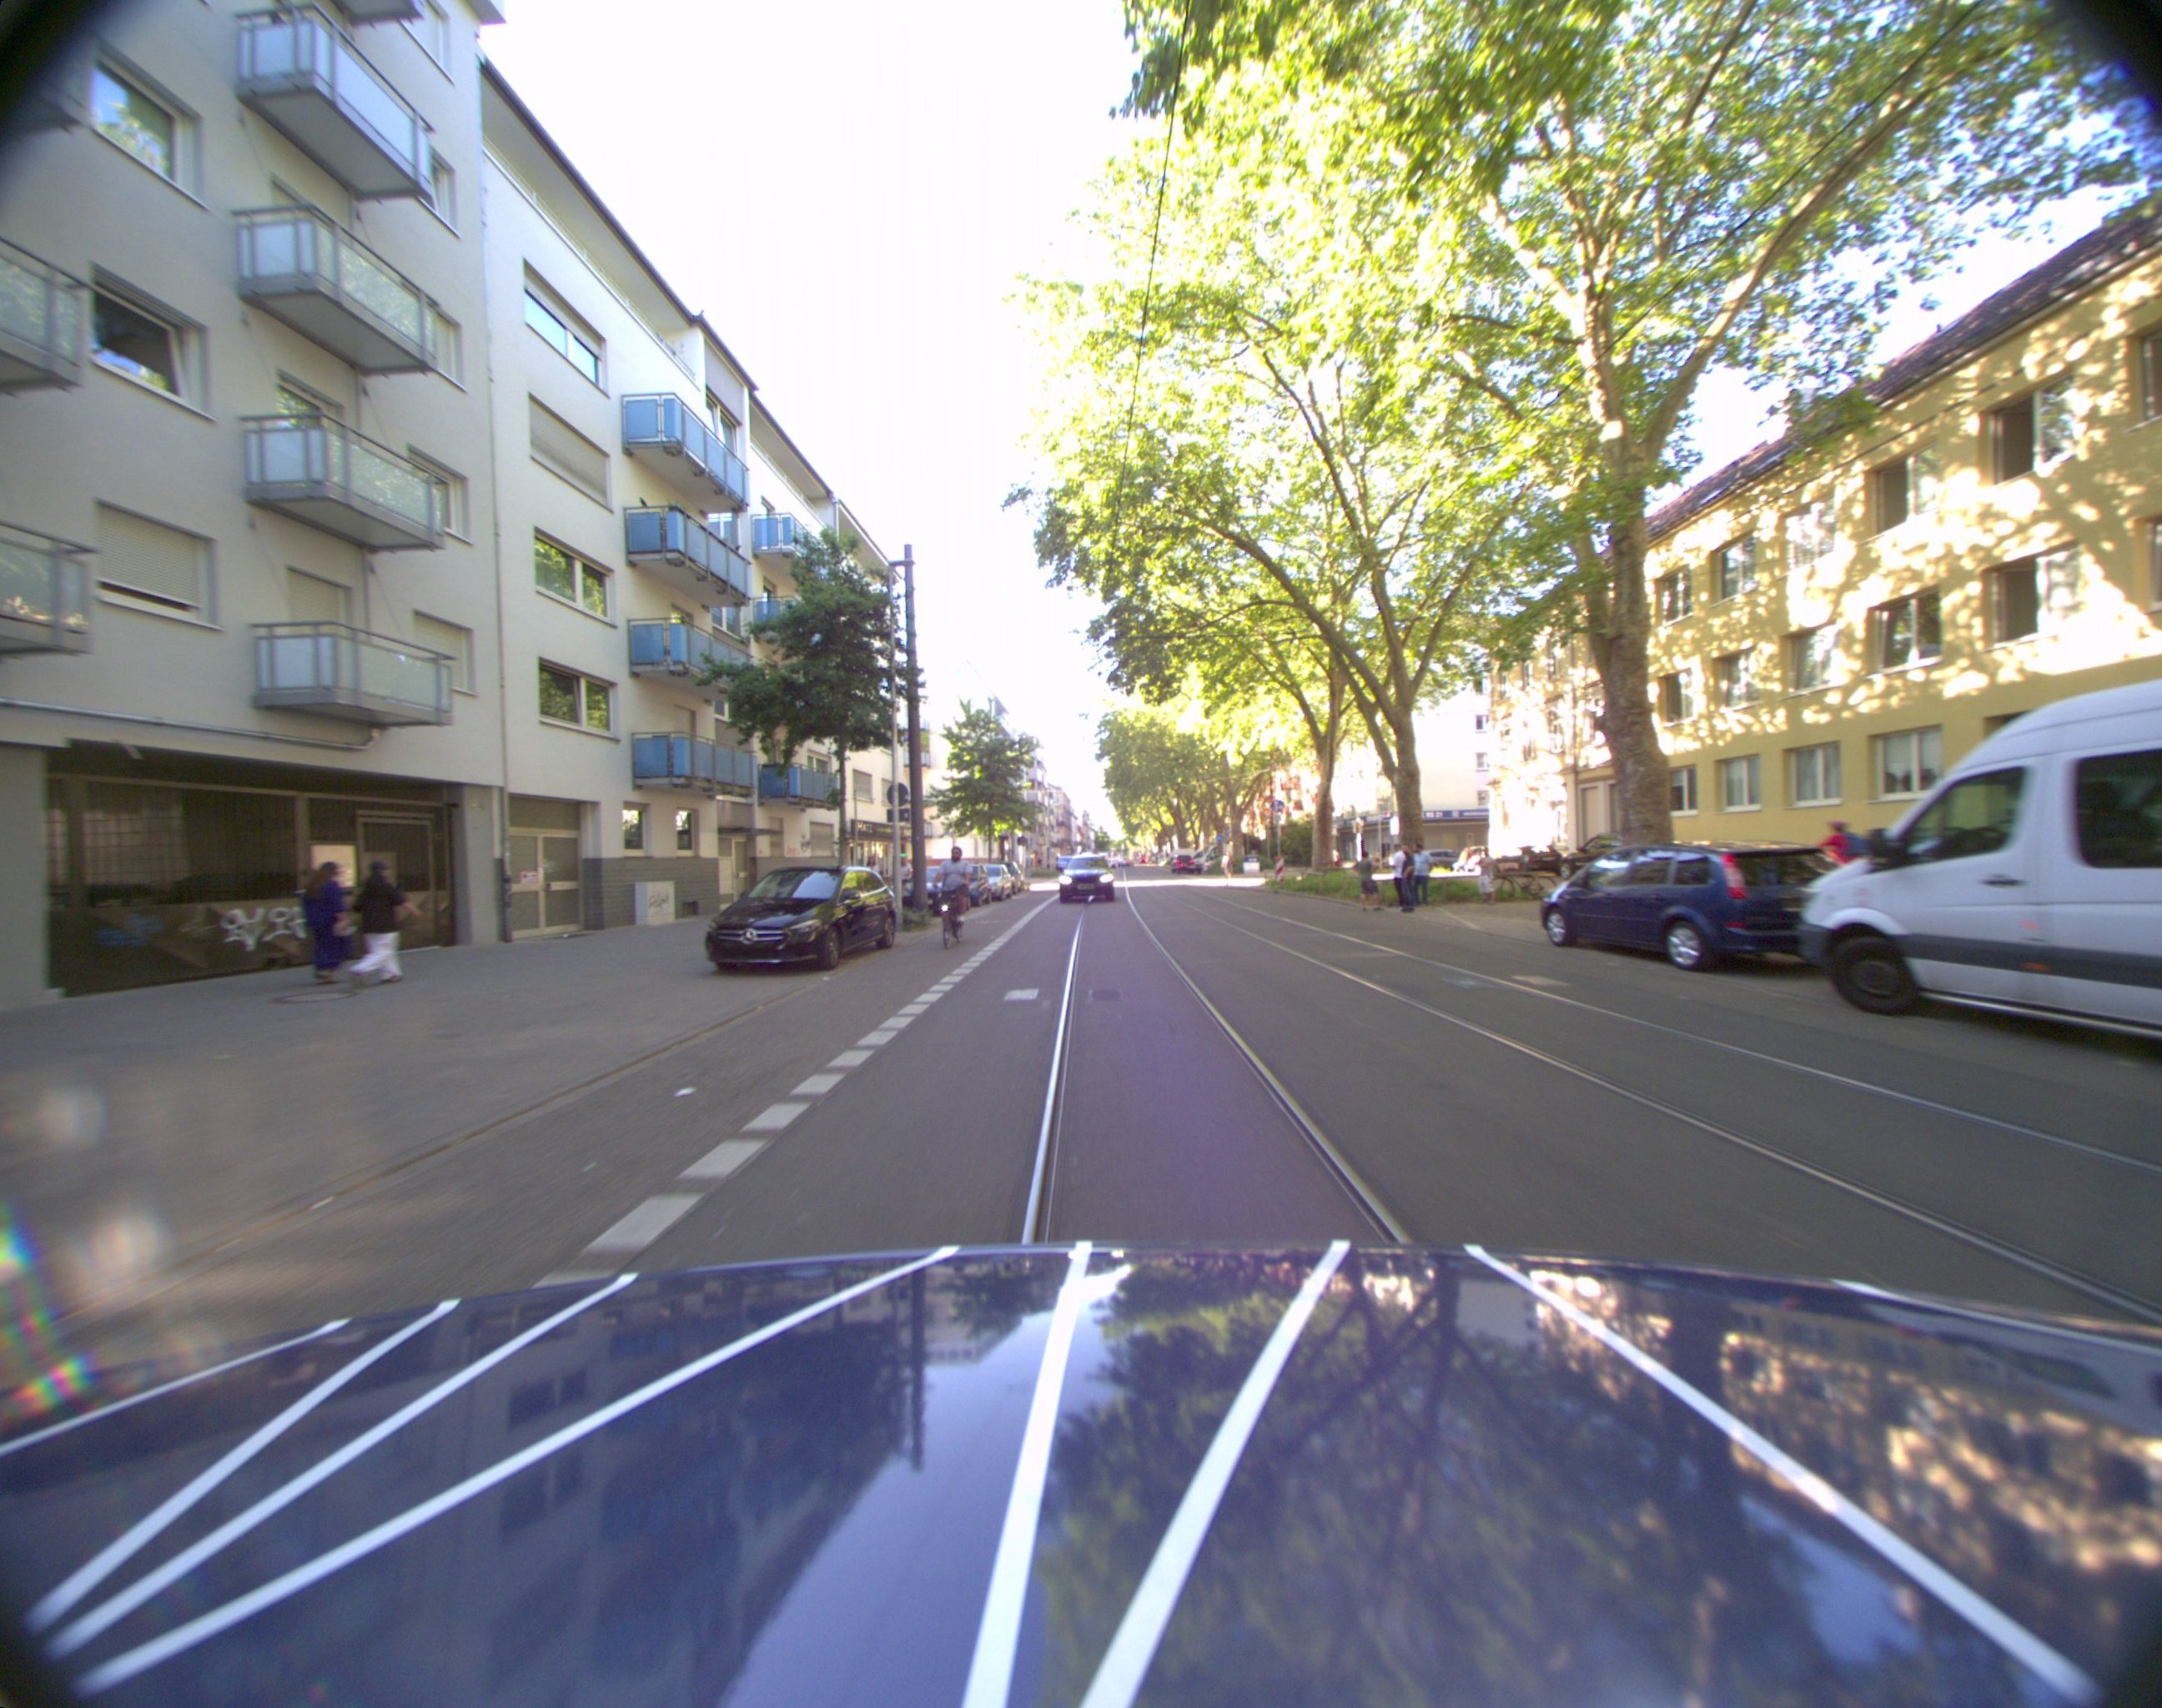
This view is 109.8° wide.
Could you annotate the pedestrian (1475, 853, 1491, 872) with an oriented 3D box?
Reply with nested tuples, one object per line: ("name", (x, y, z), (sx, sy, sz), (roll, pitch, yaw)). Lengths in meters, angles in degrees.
("pedestrian", (22.014, 0.464, 41.608), (0.544, 1.034, 0.545), (-3, 1, -30))

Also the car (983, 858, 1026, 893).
("car", (-3.698, 1.027, 37.505), (1.724, 1.562, 4.259), (1, 0, -1))

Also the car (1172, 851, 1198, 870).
("car", (9.642, 0.536, 70.657), (1.927, 1.674, 4.182), (1, 1, 1))

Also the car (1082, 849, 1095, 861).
("car", (1.426, 0.166, 136.474), (1.990, 2.085, 4.471), (-2, 1, 3))

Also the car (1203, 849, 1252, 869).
("car", (13.198, 0.470, 68.732), (3.997, 1.600, 1.909), (-2, 0, 1))

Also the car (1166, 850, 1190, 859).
("car", (17.009, 0.130, 133.750), (3.997, 1.458, 2.000), (-2, 1, 1))

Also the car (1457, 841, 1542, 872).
("car", (25.348, 0.166, 46.117), (4.011, 1.627, 1.801), (-2, -3, 2))

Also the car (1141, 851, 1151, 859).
("car", (14.841, 0.216, 174.219), (1.998, 1.723, 4.400), (-3, 0, 3))

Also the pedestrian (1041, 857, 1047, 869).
("pedestrian", (-4.870, 1.147, 100.132), (0.590, 1.493, 0.600), (-2, 1, 3))

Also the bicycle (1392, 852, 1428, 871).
("bicycle", (19.940, 0.465, 46.066), (1.867, 1.056, 0.656), (-2, 1, -5))

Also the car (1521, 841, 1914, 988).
("car", (8.238, 0.653, 10.504), (1.921, 1.553, 4.284), (-2, 0, 2))

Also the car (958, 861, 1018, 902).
("car", (-3.799, 1.073, 31.564), (1.790, 1.528, 4.128), (1, 0, 2))

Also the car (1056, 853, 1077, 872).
("car", (-1.609, 0.940, 86.287), (1.957, 1.914, 4.001), (-2, 1, 3))

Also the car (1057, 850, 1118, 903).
("car", (0.337, 0.787, 29.004), (1.998, 1.723, 4.400), (-4, 0, 3))

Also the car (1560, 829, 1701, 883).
("car", (19.794, 0.037, 27.684), (1.998, 1.726, 4.697), (-2, 1, 5))

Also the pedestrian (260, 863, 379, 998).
("pedestrian", (-9.920, 0.958, 9.932), (0.597, 1.668, 0.934), (1, 1, 1))

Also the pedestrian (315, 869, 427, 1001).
("pedestrian", (-9.253, 1.024, 9.934), (0.643, 1.628, 0.870), (1, 0, 1))

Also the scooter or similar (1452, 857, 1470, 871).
("scooter or similar", (21.505, 0.588, 42.994), (0.529, 0.749, 0.896), (-2, 1, 1))

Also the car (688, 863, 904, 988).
("car", (-4.436, 1.006, 12.615), (1.763, 1.578, 4.329), (2, 0, 3))

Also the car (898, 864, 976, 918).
("car", (-4.365, 1.079, 23.538), (1.626, 1.473, 3.889), (1, 0, 0))

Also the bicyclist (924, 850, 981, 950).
("bicyclist", (-2.456, 0.856, 14.654), (0.769, 1.821, 1.099), (-2, 1, 3))

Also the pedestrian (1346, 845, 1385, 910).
("pedestrian", (7.739, 0.631, 20.659), (0.712, 1.725, 0.772), (-2, 1, 40))

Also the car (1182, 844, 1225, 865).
("car", (14.235, 0.050, 88.545), (4.660, 2.292, 2.000), (-2, 1, 3))

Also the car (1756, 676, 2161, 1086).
("car", (7.801, 0.131, 4.768), (2.112, 2.562, 6.025), (-2, 1, 5))

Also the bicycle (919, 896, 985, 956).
("bicycle", (-2.440, 1.347, 14.599), (0.790, 0.932, 1.939), (-2, 1, 3))

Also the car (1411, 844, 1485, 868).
("car", (25.225, 0.129, 52.302), (4.152, 1.469, 1.835), (-2, 1, 2))

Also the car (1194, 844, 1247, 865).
("car", (14.597, 0.056, 79.703), (5.133, 1.984, 1.999), (-2, 1, -2))

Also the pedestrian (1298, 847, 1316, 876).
("pedestrian", (14.086, 0.467, 47.269), (0.741, 1.747, 0.733), (-3, 1, -42))

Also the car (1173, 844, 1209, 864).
("car", (14.896, -0.061, 103.081), (4.660, 2.518, 2.000), (-2, 1, 3))

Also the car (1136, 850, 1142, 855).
("car", (20.111, -0.499, 264.043), (1.998, 1.723, 4.400), (-3, 0, 3))

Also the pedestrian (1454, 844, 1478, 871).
("pedestrian", (22.022, 0.187, 43.492), (0.774, 1.470, 1.069), (-2, 1, 1))

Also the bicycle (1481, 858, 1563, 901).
("bicycle", (11.805, 0.688, 20.375), (1.847, 1.073, 0.570), (-2, 1, 30))

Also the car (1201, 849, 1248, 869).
("car", (13.401, 0.453, 71.175), (3.997, 1.635, 2.000), (-2, 1, 1))

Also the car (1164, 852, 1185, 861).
("car", (18.730, 0.516, 151.866), (3.997, 1.458, 2.000), (-2, 1, 1))

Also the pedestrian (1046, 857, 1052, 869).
("pedestrian", (-4.505, 1.261, 107.468), (0.697, 1.685, 0.678), (-2, 1, 3))

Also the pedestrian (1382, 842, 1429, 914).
("pedestrian", (8.283, 0.608, 19.393), (0.714, 1.767, 0.769), (-3, 1, -24))

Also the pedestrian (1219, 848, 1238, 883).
("pedestrian", (7.843, 0.593, 40.338), (0.700, 1.781, 0.801), (-3, 1, -10))

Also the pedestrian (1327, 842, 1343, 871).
("pedestrian", (16.191, 0.154, 48.441), (0.724, 1.770, 0.669), (-2, 1, -6))

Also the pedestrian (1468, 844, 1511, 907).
("pedestrian", (10.790, 0.554, 20.070), (0.768, 1.600, 0.715), (-2, 1, 44))

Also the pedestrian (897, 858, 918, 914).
("pedestrian", (-5.802, 1.048, 25.455), (0.477, 1.841, 0.664), (-2, 1, 0))

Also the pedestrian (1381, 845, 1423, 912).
("pedestrian", (8.551, 0.648, 20.237), (0.768, 1.725, 0.715), (-1, 1, 44))

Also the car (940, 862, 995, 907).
("car", (-4.077, 1.061, 27.578), (1.447, 1.528, 2.882), (0, 0, 2))

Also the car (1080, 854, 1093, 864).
("car", (0.912, 0.793, 127.048), (1.867, 1.499, 4.001), (-2, 1, 3))

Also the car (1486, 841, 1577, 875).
("car", (20.292, 0.170, 34.432), (1.783, 1.379, 4.000), (-2, 0, 1))

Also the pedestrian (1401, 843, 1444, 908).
("pedestrian", (9.270, 0.572, 20.643), (0.770, 1.725, 0.717), (-2, 1, -5))

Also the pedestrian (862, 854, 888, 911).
("pedestrian", (-6.854, 0.942, 25.299), (0.665, 1.841, 0.538), (-2, 1, -26))

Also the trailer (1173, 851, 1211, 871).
("trailer", (9.420, 0.568, 65.128), (2.452, 1.622, 6.584), (1, 1, 1))
